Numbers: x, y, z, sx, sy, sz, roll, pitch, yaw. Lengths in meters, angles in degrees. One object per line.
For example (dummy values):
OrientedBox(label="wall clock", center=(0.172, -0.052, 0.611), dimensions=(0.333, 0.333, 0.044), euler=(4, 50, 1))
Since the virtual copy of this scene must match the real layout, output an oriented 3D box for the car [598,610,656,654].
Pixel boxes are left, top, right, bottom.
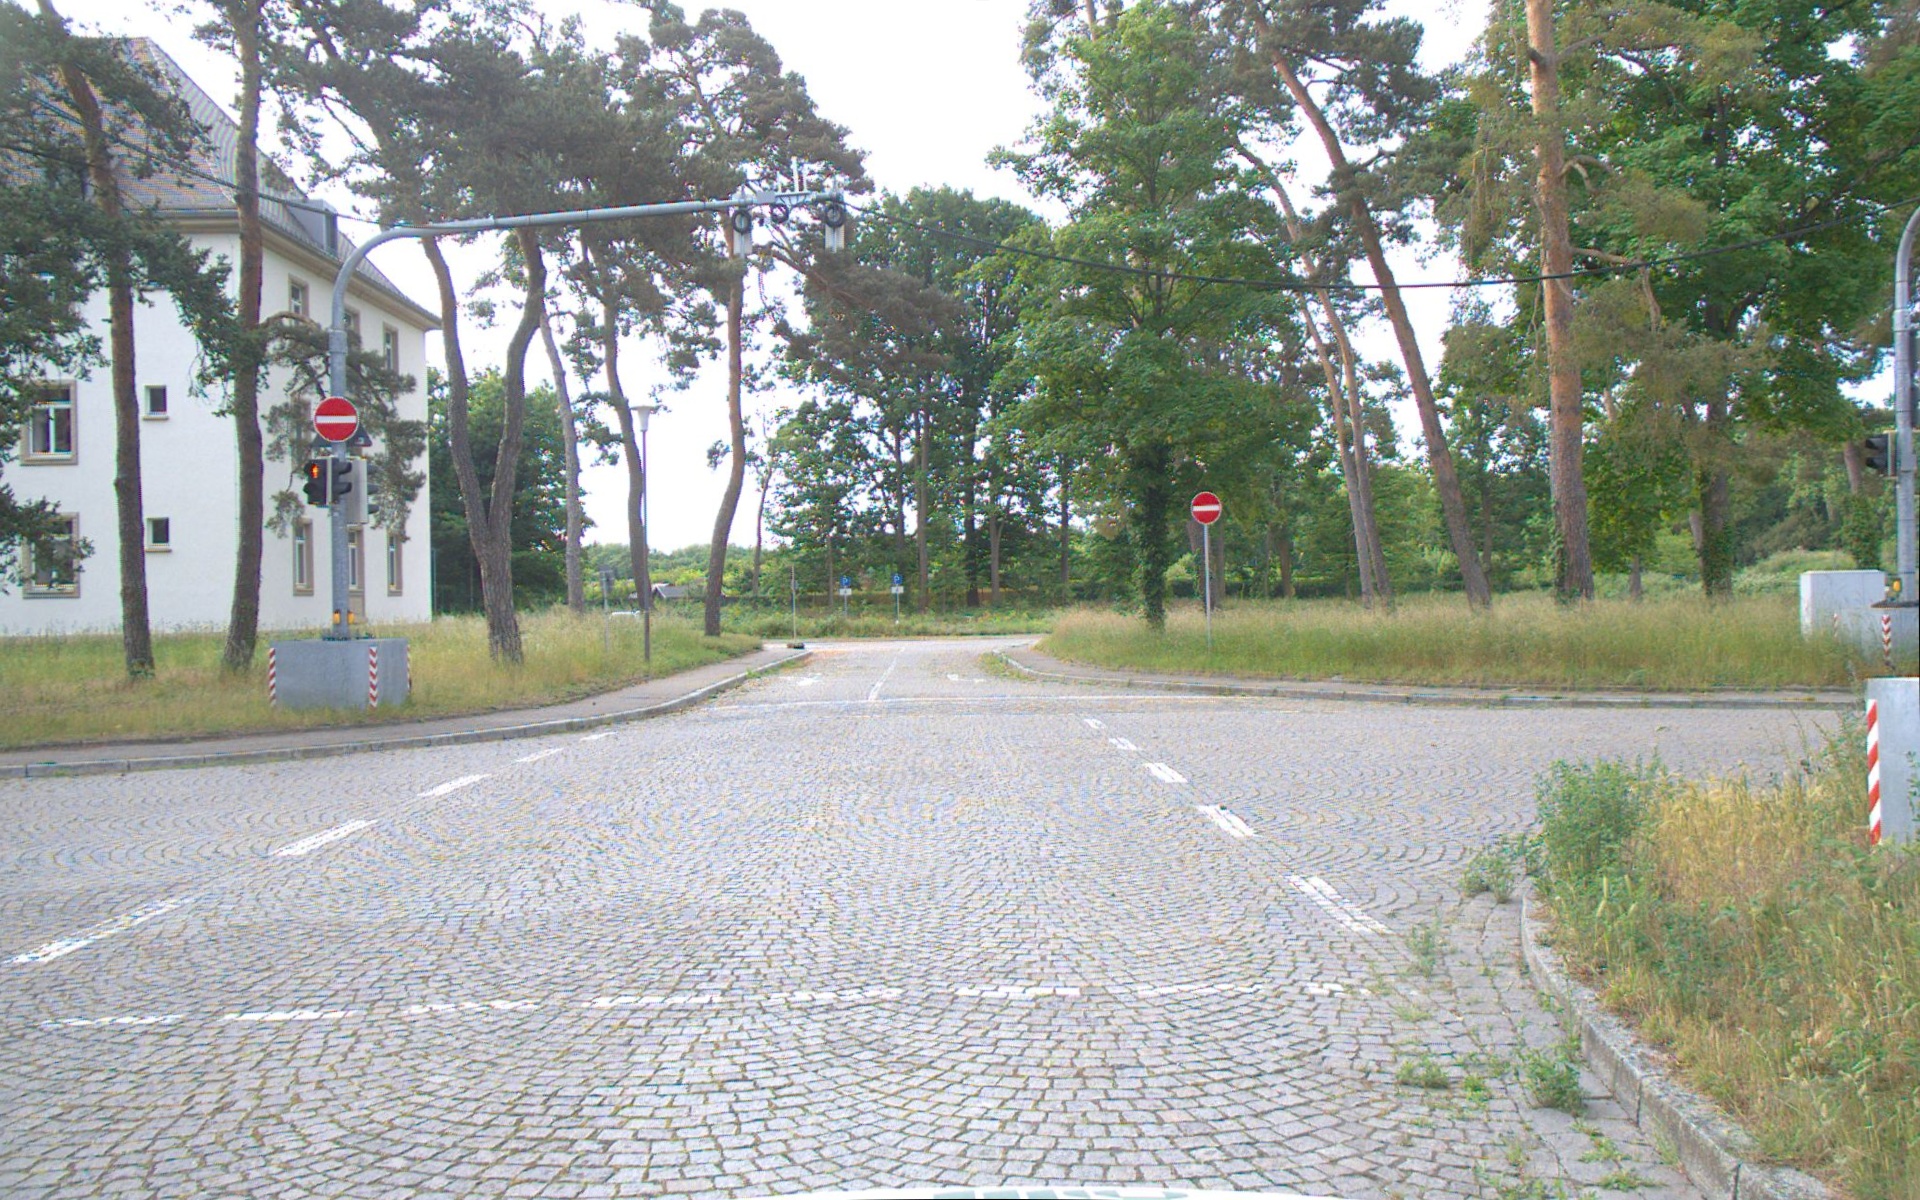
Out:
OrientedBox(label="car", center=(-14.746, 1.388, 73.437), dimensions=(1.954, 1.878, 3.997), euler=(0, 0, -4))
